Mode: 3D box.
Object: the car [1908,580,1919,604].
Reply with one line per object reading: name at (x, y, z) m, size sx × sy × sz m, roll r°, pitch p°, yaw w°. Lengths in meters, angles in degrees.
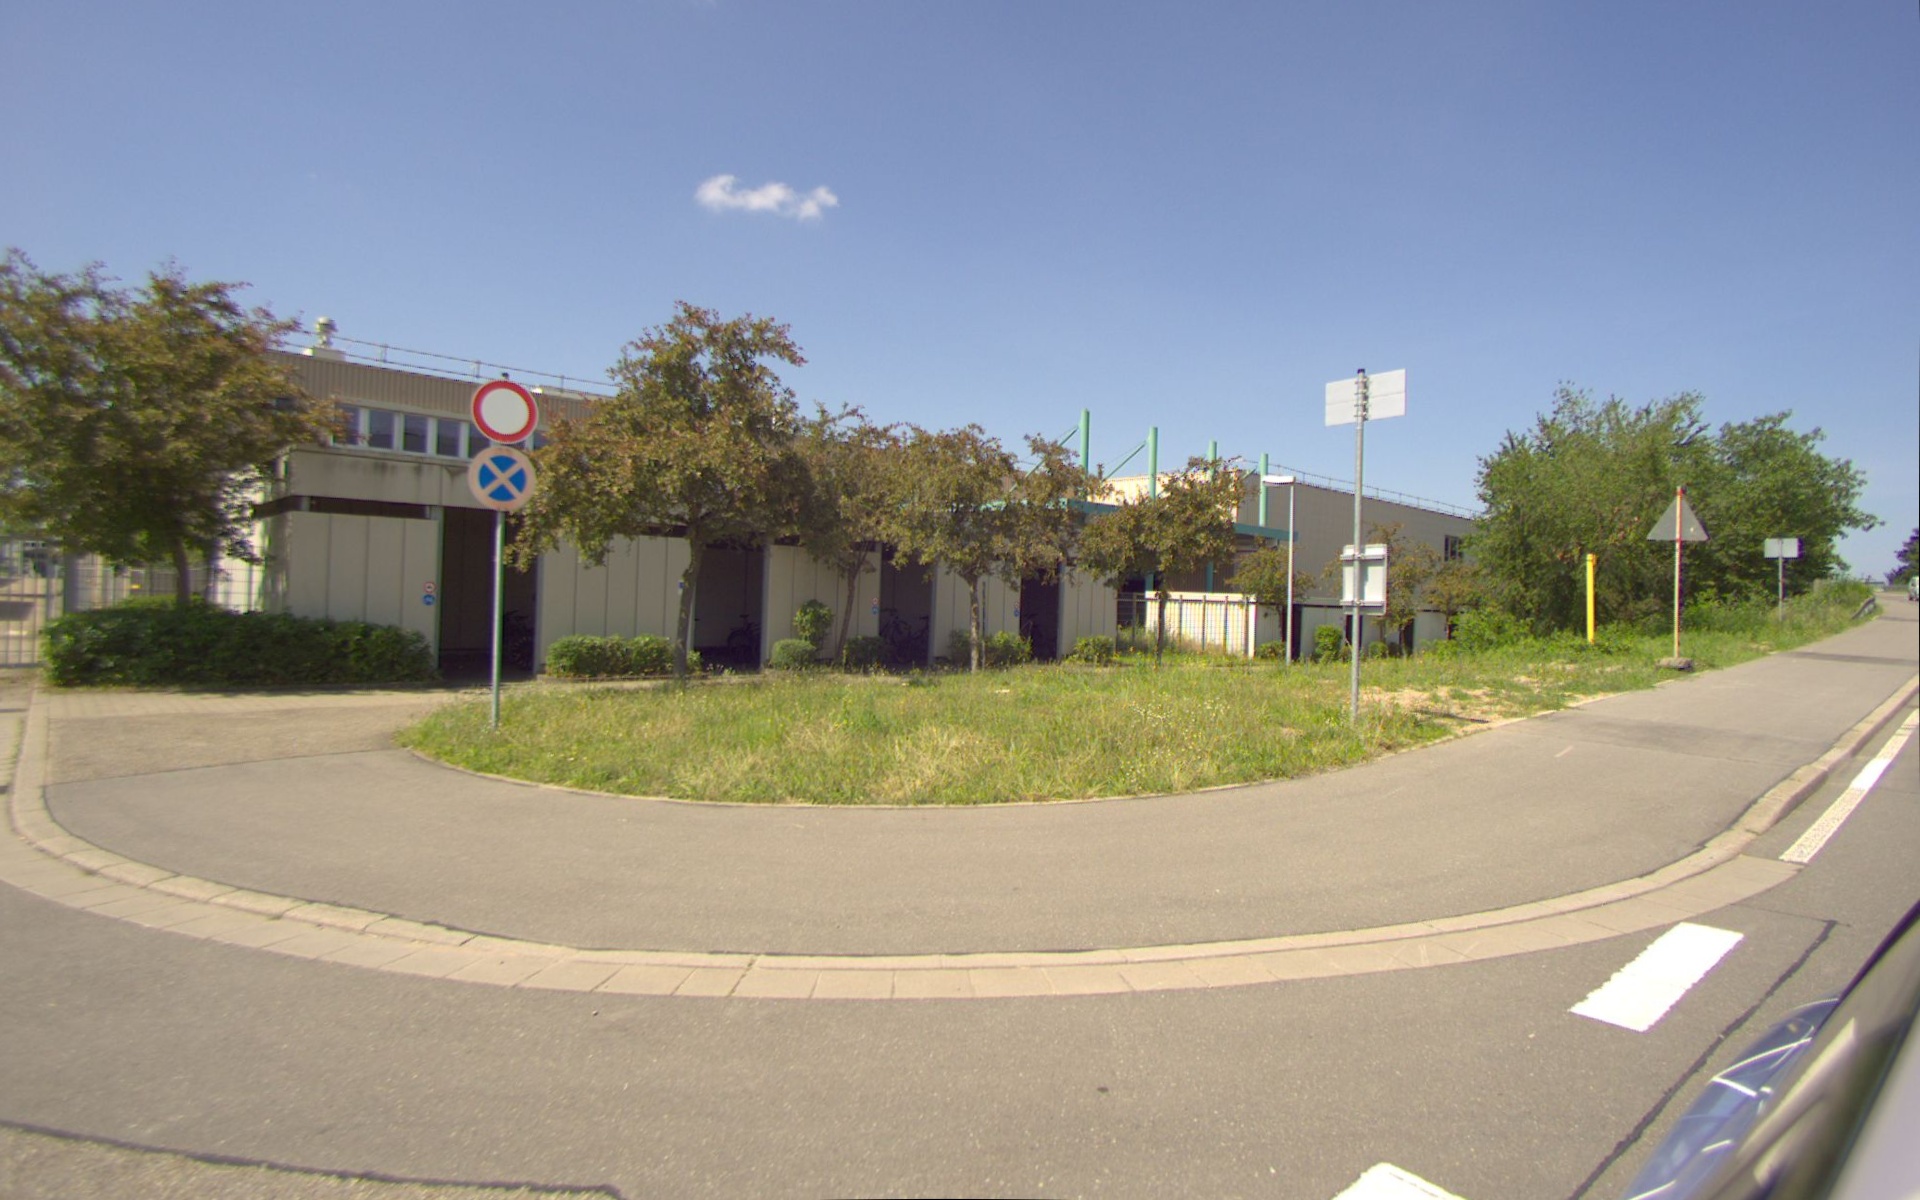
car at (72.734, -0.699, 74.990) m, size 2.070 × 1.783 × 4.250 m, roll -6°, pitch -2°, yaw 22°
